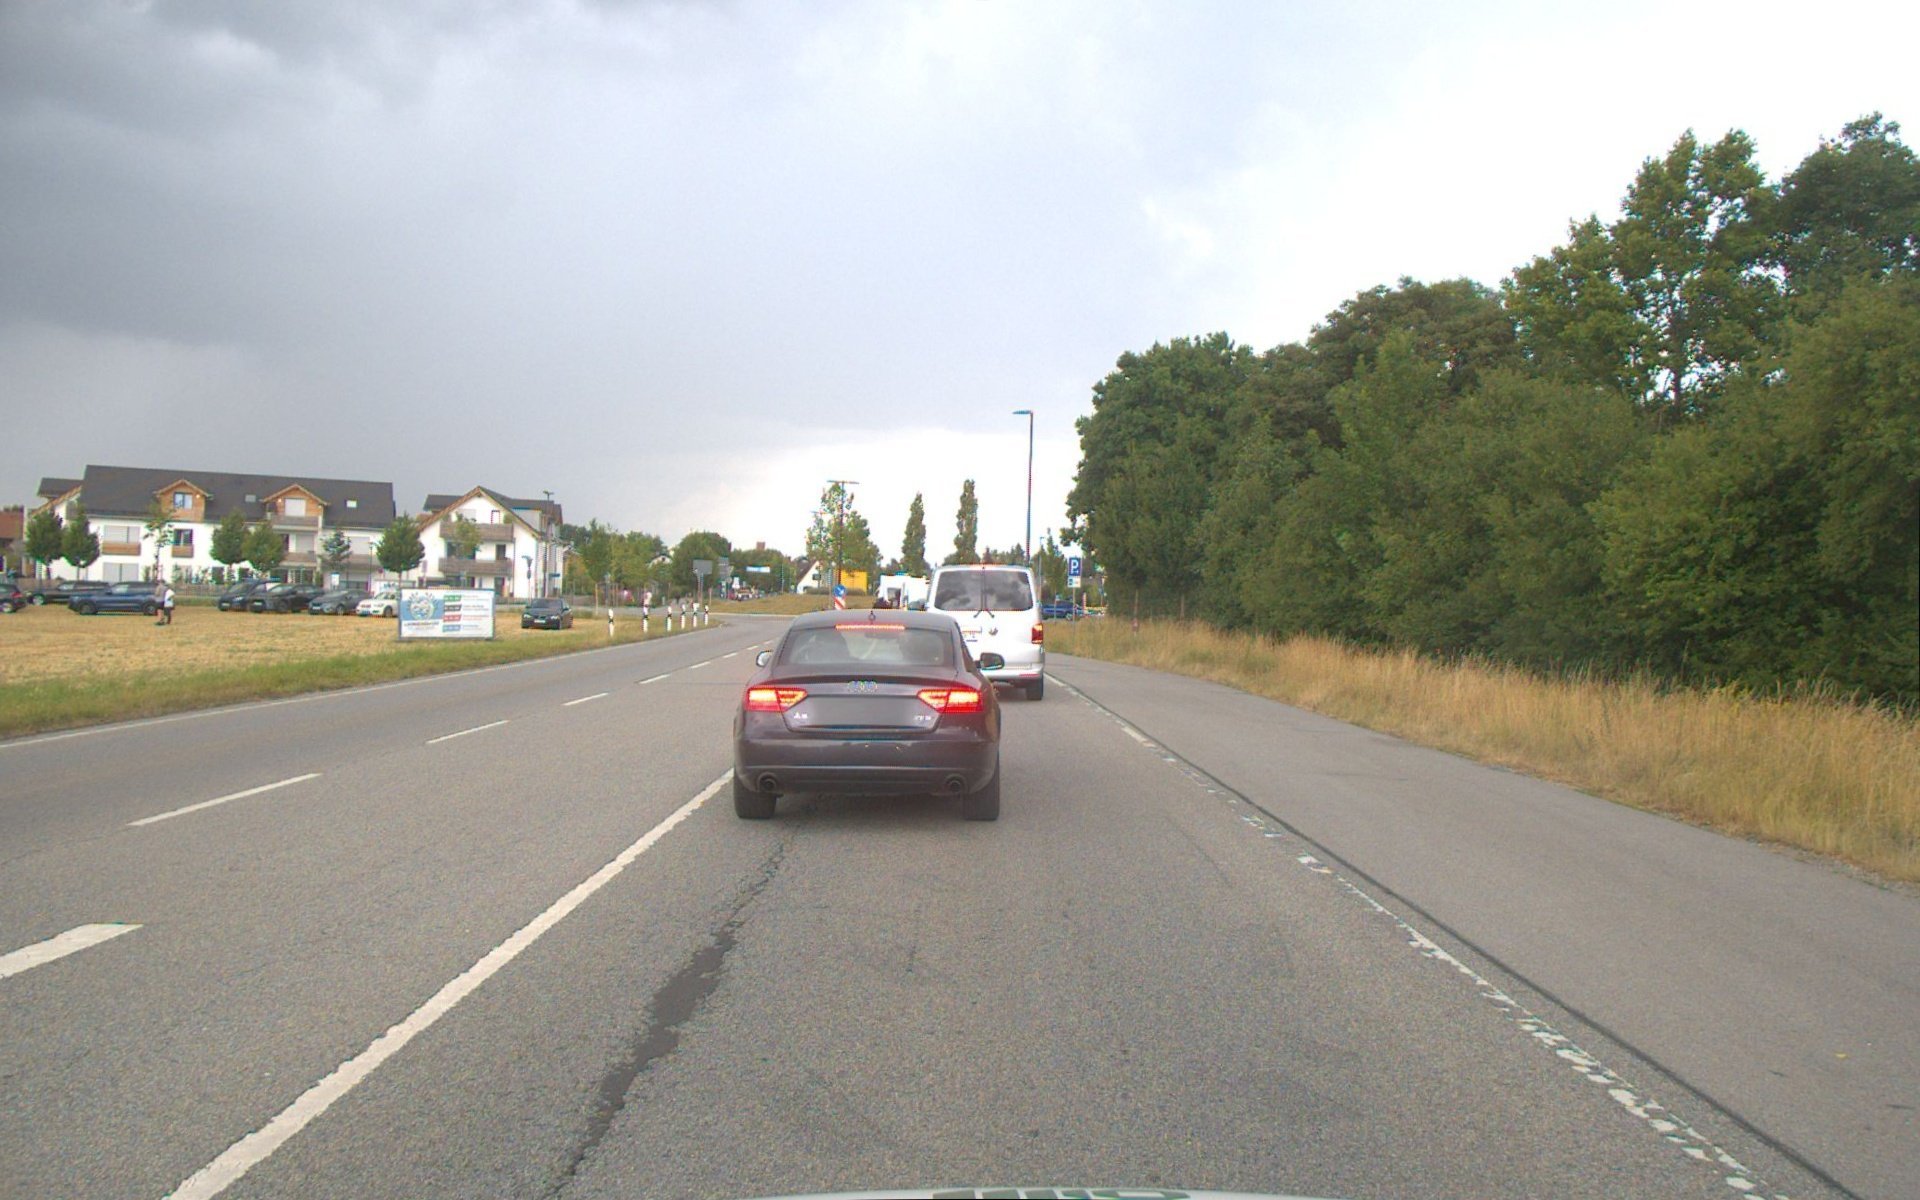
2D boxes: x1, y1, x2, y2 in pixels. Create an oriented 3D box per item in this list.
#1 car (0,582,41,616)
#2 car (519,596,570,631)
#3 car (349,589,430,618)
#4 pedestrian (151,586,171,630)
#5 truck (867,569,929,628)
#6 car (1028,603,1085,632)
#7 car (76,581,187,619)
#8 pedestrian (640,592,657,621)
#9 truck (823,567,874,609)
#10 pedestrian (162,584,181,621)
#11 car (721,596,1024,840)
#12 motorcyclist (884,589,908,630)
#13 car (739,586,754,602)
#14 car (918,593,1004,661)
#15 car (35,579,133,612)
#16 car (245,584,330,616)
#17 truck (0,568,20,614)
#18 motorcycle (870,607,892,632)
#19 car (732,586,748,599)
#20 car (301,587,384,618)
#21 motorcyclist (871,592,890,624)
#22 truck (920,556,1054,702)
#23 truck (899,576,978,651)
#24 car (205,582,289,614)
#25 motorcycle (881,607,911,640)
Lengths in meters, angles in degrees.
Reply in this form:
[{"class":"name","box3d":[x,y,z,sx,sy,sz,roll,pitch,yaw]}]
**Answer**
[{"class":"car","box3d":[-46.345,-0.077,78.890,4.095,1.545,1.988,1,0,-21]},{"class":"car","box3d":[-18.919,0.586,75.413,1.958,1.467,3.990,1,1,-11]},{"class":"car","box3d":[-30.365,0.175,88.167,1.952,1.471,4.213,1,0,18]},{"class":"pedestrian","box3d":[-33.316,0.349,68.962,0.538,1.817,0.676,1,0,-12]},{"class":"truck","box3d":[-3.156,-0.057,83.304,2.576,2.785,5.858,2,0,-7]},{"class":"car","box3d":[7.408,1.354,126.419,3.905,2.049,2.000,2,0,20]},{"class":"car","box3d":[-40.645,0.005,81.249,4.647,1.727,1.988,1,0,-21]},{"class":"pedestrian","box3d":[-17.316,0.364,91.949,0.686,1.613,0.658,1,0,17]},{"class":"truck","box3d":[-10.495,-1.130,154.843,3.512,3.640,9.931,2,0,-11]},{"class":"pedestrian","box3d":[-33.295,0.106,69.842,0.580,1.582,0.622,1,0,-19]},{"class":"car","box3d":[-0.579,0.728,12.233,1.837,1.479,4.176,1,0,-1]},{"class":"motorcyclist","box3d":[-2.245,0.320,58.164,0.756,1.407,0.820,2,0,1]},{"class":"car","box3d":[-30.009,-0.844,232.576,1.956,2.049,3.994,2,0,-7]},{"class":"car","box3d":[-0.001,0.628,39.744,1.953,1.511,3.999,1,0,-1]},{"class":"car","box3d":[-49.025,-0.262,92.692,4.558,1.727,1.988,1,0,-21]},{"class":"car","box3d":[-36.123,-0.010,88.991,1.952,1.657,4.213,1,0,18]},{"class":"truck","box3d":[-49.793,-0.500,81.709,5.489,2.235,2.589,1,0,-23]},{"class":"motorcycle","box3d":[-3.437,0.843,72.127,0.925,1.037,2.283,1,0,-2]},{"class":"car","box3d":[-31.920,-1.081,240.075,1.954,1.670,3.996,2,0,-4]},{"class":"car","box3d":[-33.023,0.138,88.564,1.952,1.562,4.213,1,0,18]},{"class":"motorcyclist","box3d":[-3.469,0.356,72.162,0.770,1.380,0.853,1,0,-2]},{"class":"truck","box3d":[0.389,0.409,25.911,1.865,2.033,4.628,1,0,0]},{"class":"truck","box3d":[-0.593,0.381,48.826,2.149,2.049,5.084,1,0,0]},{"class":"car","box3d":[-39.203,-0.102,91.039,1.952,1.657,4.213,1,0,18]},{"class":"motorcycle","box3d":[-2.243,0.815,58.259,0.901,1.113,2.189,2,0,1]}]
